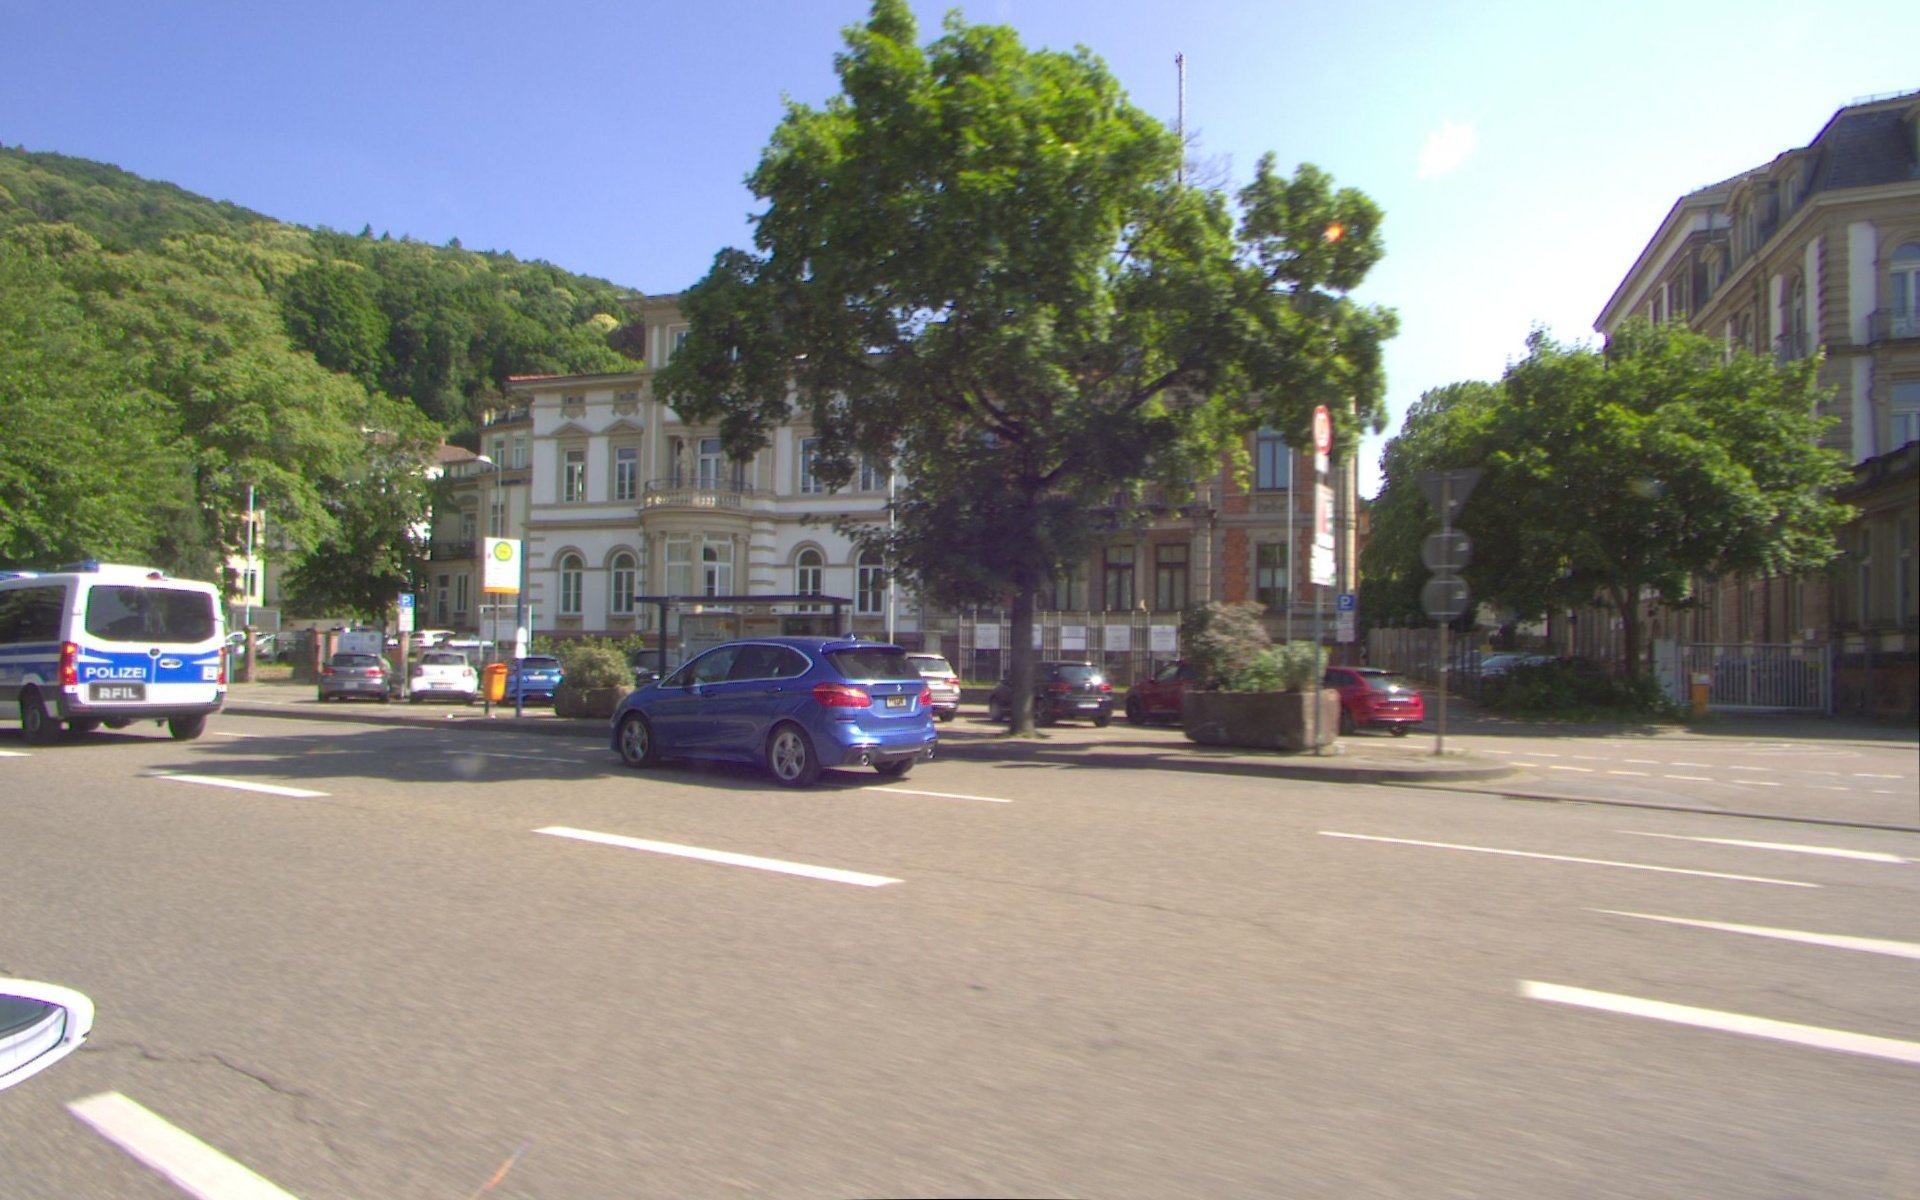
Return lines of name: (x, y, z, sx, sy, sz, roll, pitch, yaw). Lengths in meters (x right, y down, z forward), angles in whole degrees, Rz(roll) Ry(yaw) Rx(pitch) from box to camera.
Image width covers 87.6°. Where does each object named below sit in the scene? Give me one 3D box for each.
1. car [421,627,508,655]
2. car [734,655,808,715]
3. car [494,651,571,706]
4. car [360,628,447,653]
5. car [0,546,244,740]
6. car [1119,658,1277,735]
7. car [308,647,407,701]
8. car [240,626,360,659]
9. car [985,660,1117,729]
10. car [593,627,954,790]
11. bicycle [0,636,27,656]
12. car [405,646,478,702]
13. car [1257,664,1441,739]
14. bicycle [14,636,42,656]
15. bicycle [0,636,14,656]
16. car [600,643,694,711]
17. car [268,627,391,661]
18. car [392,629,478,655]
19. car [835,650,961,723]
car: (-26.937, 2.243, 54.540, 1.791, 1.437, 4.054, 0, -2, 22)
car: (-4.983, 2.203, 26.324, 1.185, 1.501, 2.277, 2, -3, -31)
car: (-12.324, 2.208, 28.754, 1.688, 1.460, 3.796, 2, -3, -28)
car: (-31.394, 2.308, 56.628, 1.791, 1.353, 4.045, 0, -2, 22)
car: (-13.344, 0.669, 15.217, 4.854, 2.539, 2.073, -1, -3, 29)
car: (5.426, 2.168, 23.328, 1.721, 1.594, 3.869, 2, -3, -21)
car: (-17.818, 2.154, 29.808, 1.797, 1.479, 4.098, 2, -3, -21)
car: (-28.576, 1.852, 43.502, 1.829, 1.353, 4.045, 0, -2, 22)
car: (2.050, 2.161, 23.625, 1.579, 1.434, 3.812, 2, -3, -21)
car: (-2.259, 1.134, 11.593, 4.218, 1.560, 1.714, -1, -4, 38)
bicycle: (-52.167, 2.522, 55.180, 1.806, 1.099, 0.537, 0, -2, 27)
car: (-15.266, 2.146, 29.639, 1.687, 1.530, 3.799, 2, -3, -25)
car: (8.345, 2.140, 21.831, 1.720, 1.435, 3.692, 2, -3, -21)
bicycle: (-51.897, 2.547, 55.769, 1.806, 1.099, 0.537, 0, -2, 27)
bicycle: (-52.413, 2.499, 54.634, 1.806, 1.099, 0.537, 0, -2, 27)
car: (-8.655, 2.061, 27.448, 1.688, 1.717, 4.257, 2, -3, -28)
car: (-26.581, 1.851, 42.368, 1.958, 1.353, 4.045, 0, -2, 22)
car: (-29.218, 2.338, 55.839, 1.791, 1.353, 4.081, 0, -2, 22)
car: (-1.652, 2.104, 25.178, 1.687, 1.649, 4.301, 2, -3, -25)
